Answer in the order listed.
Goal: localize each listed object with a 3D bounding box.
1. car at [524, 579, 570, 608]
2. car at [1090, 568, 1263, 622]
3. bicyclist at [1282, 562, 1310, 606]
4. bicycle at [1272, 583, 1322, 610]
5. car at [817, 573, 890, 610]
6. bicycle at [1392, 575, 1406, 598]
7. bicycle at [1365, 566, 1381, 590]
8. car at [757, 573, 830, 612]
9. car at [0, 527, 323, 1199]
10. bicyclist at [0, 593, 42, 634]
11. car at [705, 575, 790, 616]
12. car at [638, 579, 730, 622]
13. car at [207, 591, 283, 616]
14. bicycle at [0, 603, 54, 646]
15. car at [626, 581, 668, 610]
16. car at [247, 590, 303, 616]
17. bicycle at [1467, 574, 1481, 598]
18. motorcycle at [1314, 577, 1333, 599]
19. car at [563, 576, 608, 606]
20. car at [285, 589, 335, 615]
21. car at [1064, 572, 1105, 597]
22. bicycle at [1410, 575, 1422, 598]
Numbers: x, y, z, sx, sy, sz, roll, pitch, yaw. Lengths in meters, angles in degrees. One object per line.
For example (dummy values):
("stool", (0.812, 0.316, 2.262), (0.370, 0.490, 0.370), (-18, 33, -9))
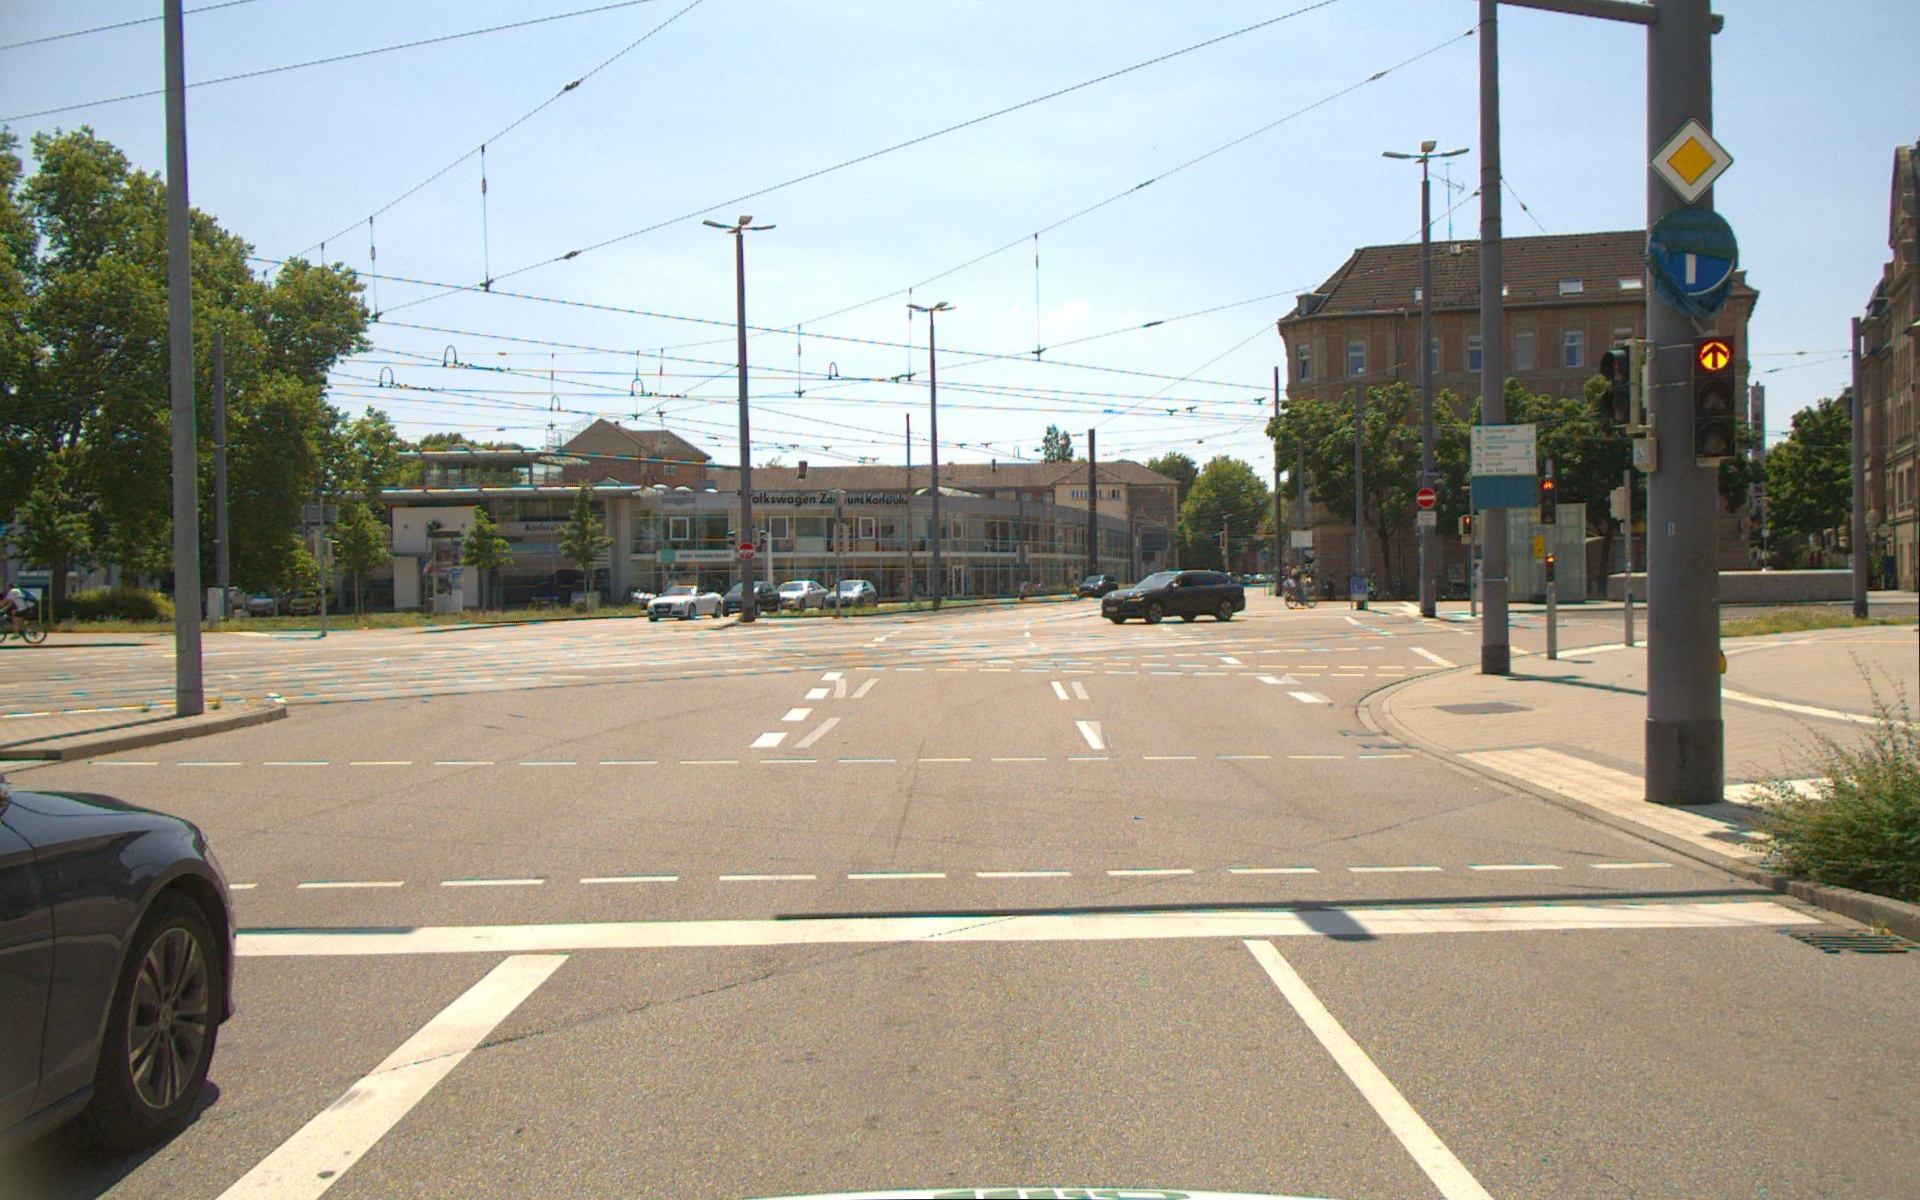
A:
("car", (-25.505, -0.380, 102.199), (1.881, 1.737, 3.999), (1, 0, -1))
("car", (6.410, -0.165, 48.925), (4.766, 1.491, 1.985), (-1, 1, -24))
("bicyclist", (14.052, -0.661, 69.163), (1.047, 1.839, 0.475), (1, -1, -26))
("bicycle", (14.121, -0.141, 69.217), (2.080, 1.071, 0.687), (1, -1, -27))
("car", (-4.970, -0.428, 77.872), (1.951, 1.666, 4.850), (-1, 1, 15))
("bicycle", (21.775, -0.662, 82.050), (0.539, 1.139, 1.822), (-1, 1, 11))
("bicycle", (20.720, -1.088, 82.973), (0.433, 1.166, 2.095), (1, 0, 5))
("car", (-7.892, -0.398, 78.929), (1.951, 1.770, 4.547), (-1, 1, 15))
("car", (-2.832, 0.683, 2.718), (1.761, 1.669, 4.804), (1, 1, -1))
("bicyclist", (-27.365, 0.400, 48.197), (0.911, 1.162, 0.713), (-1, 0, -19))
("car", (-9.314, -0.230, 72.944), (1.951, 1.730, 4.850), (-1, 1, 15))
("car", (-11.068, -0.008, 66.753), (2.032, 1.607, 4.851), (-1, 1, 12))
("car", (-46.866, 0.230, 108.410), (4.280, 1.536, 1.750), (-1, 1, -37))
("bicycle", (-27.329, 0.709, 48.211), (1.482, 1.238, 0.713), (-1, 0, -19))
("car", (-19.402, -0.272, 102.659), (1.881, 1.737, 3.999), (1, 0, -1))
("car", (-42.733, 0.151, 103.233), (1.731, 1.536, 4.326), (-1, 1, -1))
("bicycle", (25.425, -0.709, 81.847), (0.539, 1.139, 1.931), (-1, 1, 14))
("motorcycle", (18.118, -0.587, 82.507), (0.568, 1.093, 1.947), (-1, 1, 2))
("car", (-23.137, -0.539, 102.267), (1.881, 1.737, 3.999), (1, 0, -1))
("car", (-40.367, 0.116, 102.826), (1.733, 1.536, 4.321), (-1, 1, -6))
("car", (9.072, -1.133, 120.407), (2.034, 1.712, 4.850), (-1, 1, 15))
("bicycle", (22.571, -0.672, 81.923), (0.539, 1.139, 1.822), (-1, 1, 14))
